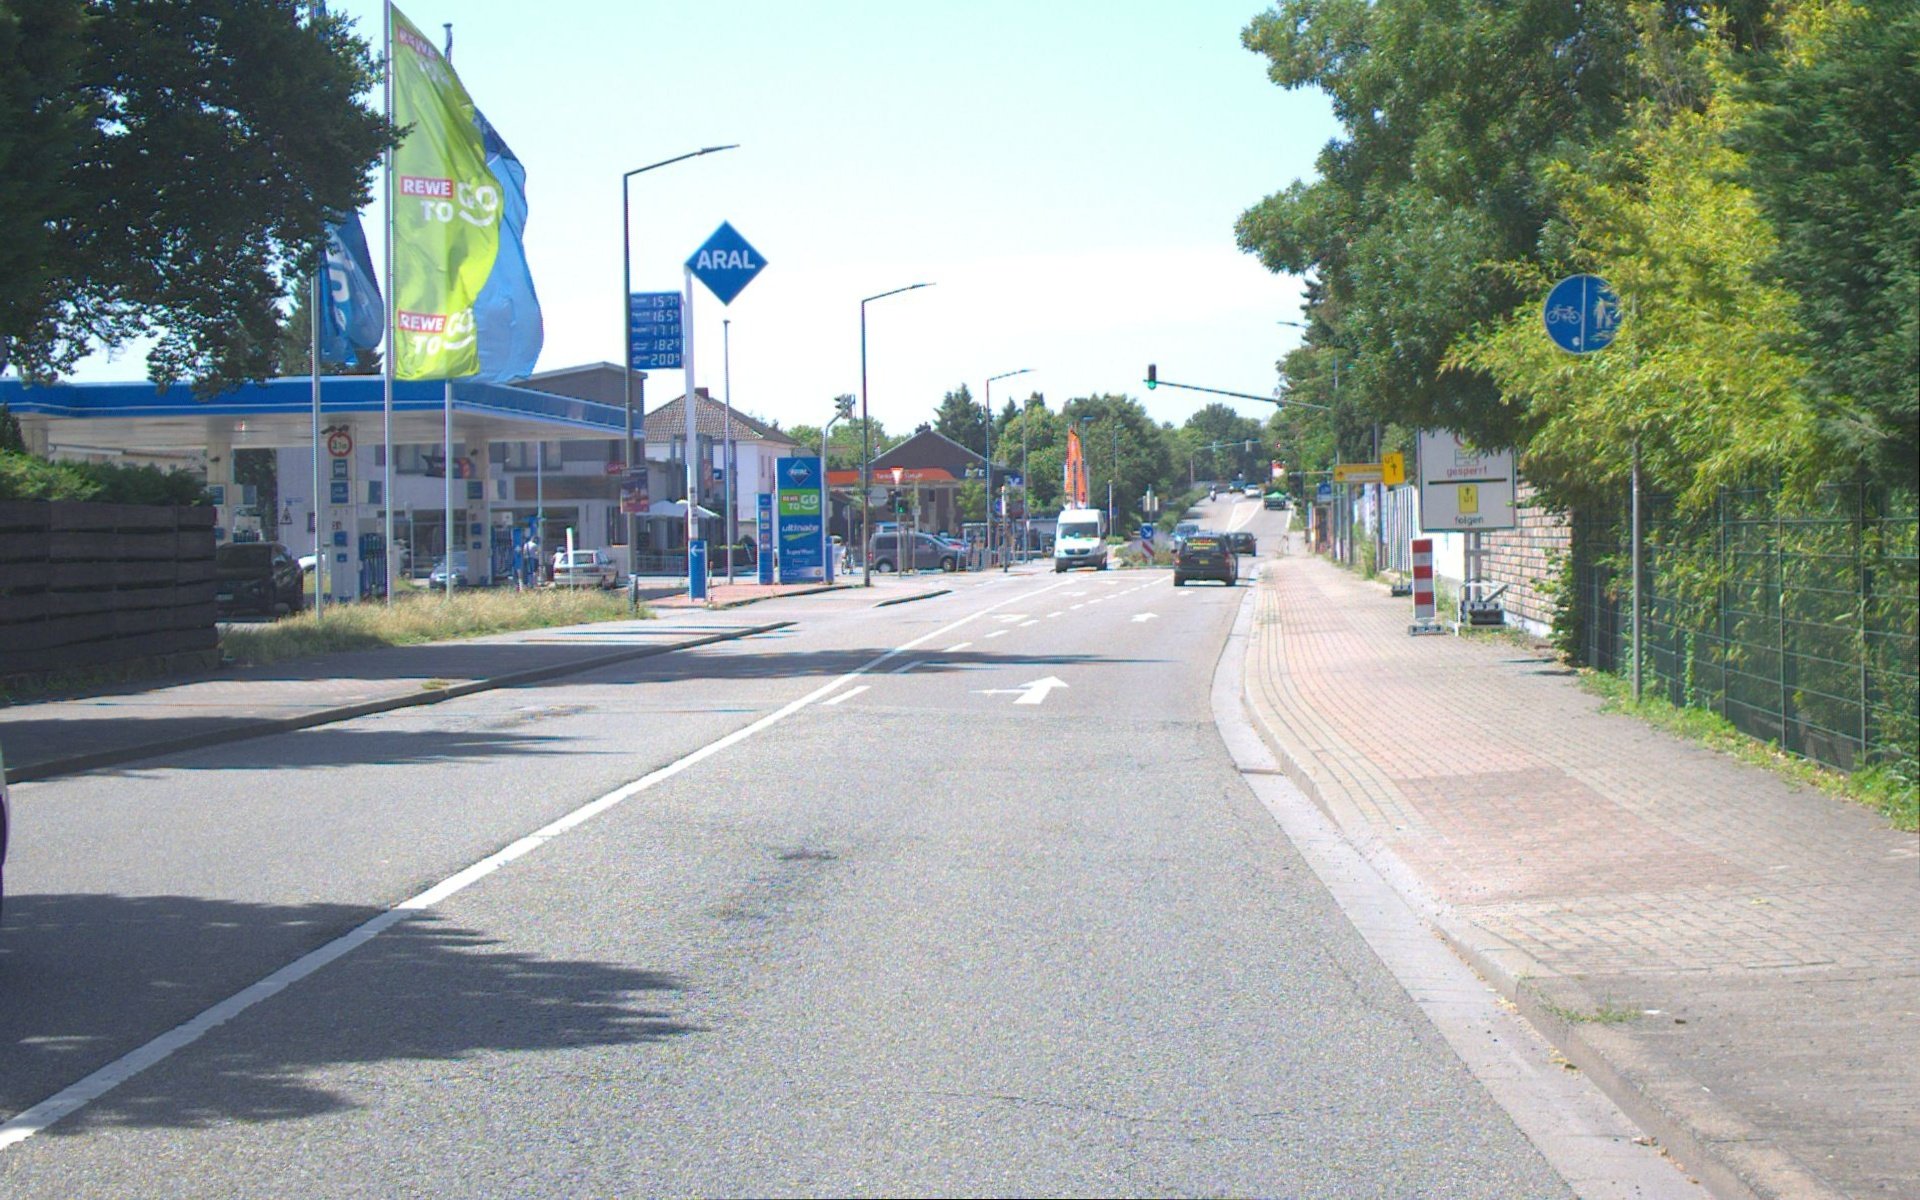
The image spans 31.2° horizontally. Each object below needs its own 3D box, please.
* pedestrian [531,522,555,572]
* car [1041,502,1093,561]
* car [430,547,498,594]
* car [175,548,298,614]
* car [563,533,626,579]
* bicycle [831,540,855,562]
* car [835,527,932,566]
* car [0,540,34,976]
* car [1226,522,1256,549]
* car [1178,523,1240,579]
[{"bbox_3d":[-14.196,-1.801,116.961,0.610,1.685,0.709,-2,2,-21],"label":"pedestrian"},{"bbox_3d":[4.546,-2.879,145.715,1.994,2.414,5.947,0,0,4],"label":"car"},{"bbox_3d":[-16.729,-1.020,116.094,1.617,1.415,3.712,-3,2,1],"label":"car"},{"bbox_3d":[-16.869,-0.466,80.299,1.670,1.377,4.000,-2,2,5],"label":"car"},{"bbox_3d":[-12.340,-1.500,116.246,1.617,1.415,3.712,-3,2,1],"label":"car"},{"bbox_3d":[-4.660,-1.958,137.410,0.612,0.790,2.574,-2,2,5],"label":"bicycle"},{"bbox_3d":[-3.237,-2.289,145.966,3.987,1.503,1.555,-2,2,2],"label":"car"},{"bbox_3d":[-4.120,0.603,10.212,1.612,1.477,3.707,-2,2,1],"label":"car"},{"bbox_3d":[16.190,-3.731,197.951,1.666,1.450,3.472,-2,2,5],"label":"car"},{"bbox_3d":[7.063,-1.404,97.341,1.666,1.450,3.472,-2,2,5],"label":"car"}]
